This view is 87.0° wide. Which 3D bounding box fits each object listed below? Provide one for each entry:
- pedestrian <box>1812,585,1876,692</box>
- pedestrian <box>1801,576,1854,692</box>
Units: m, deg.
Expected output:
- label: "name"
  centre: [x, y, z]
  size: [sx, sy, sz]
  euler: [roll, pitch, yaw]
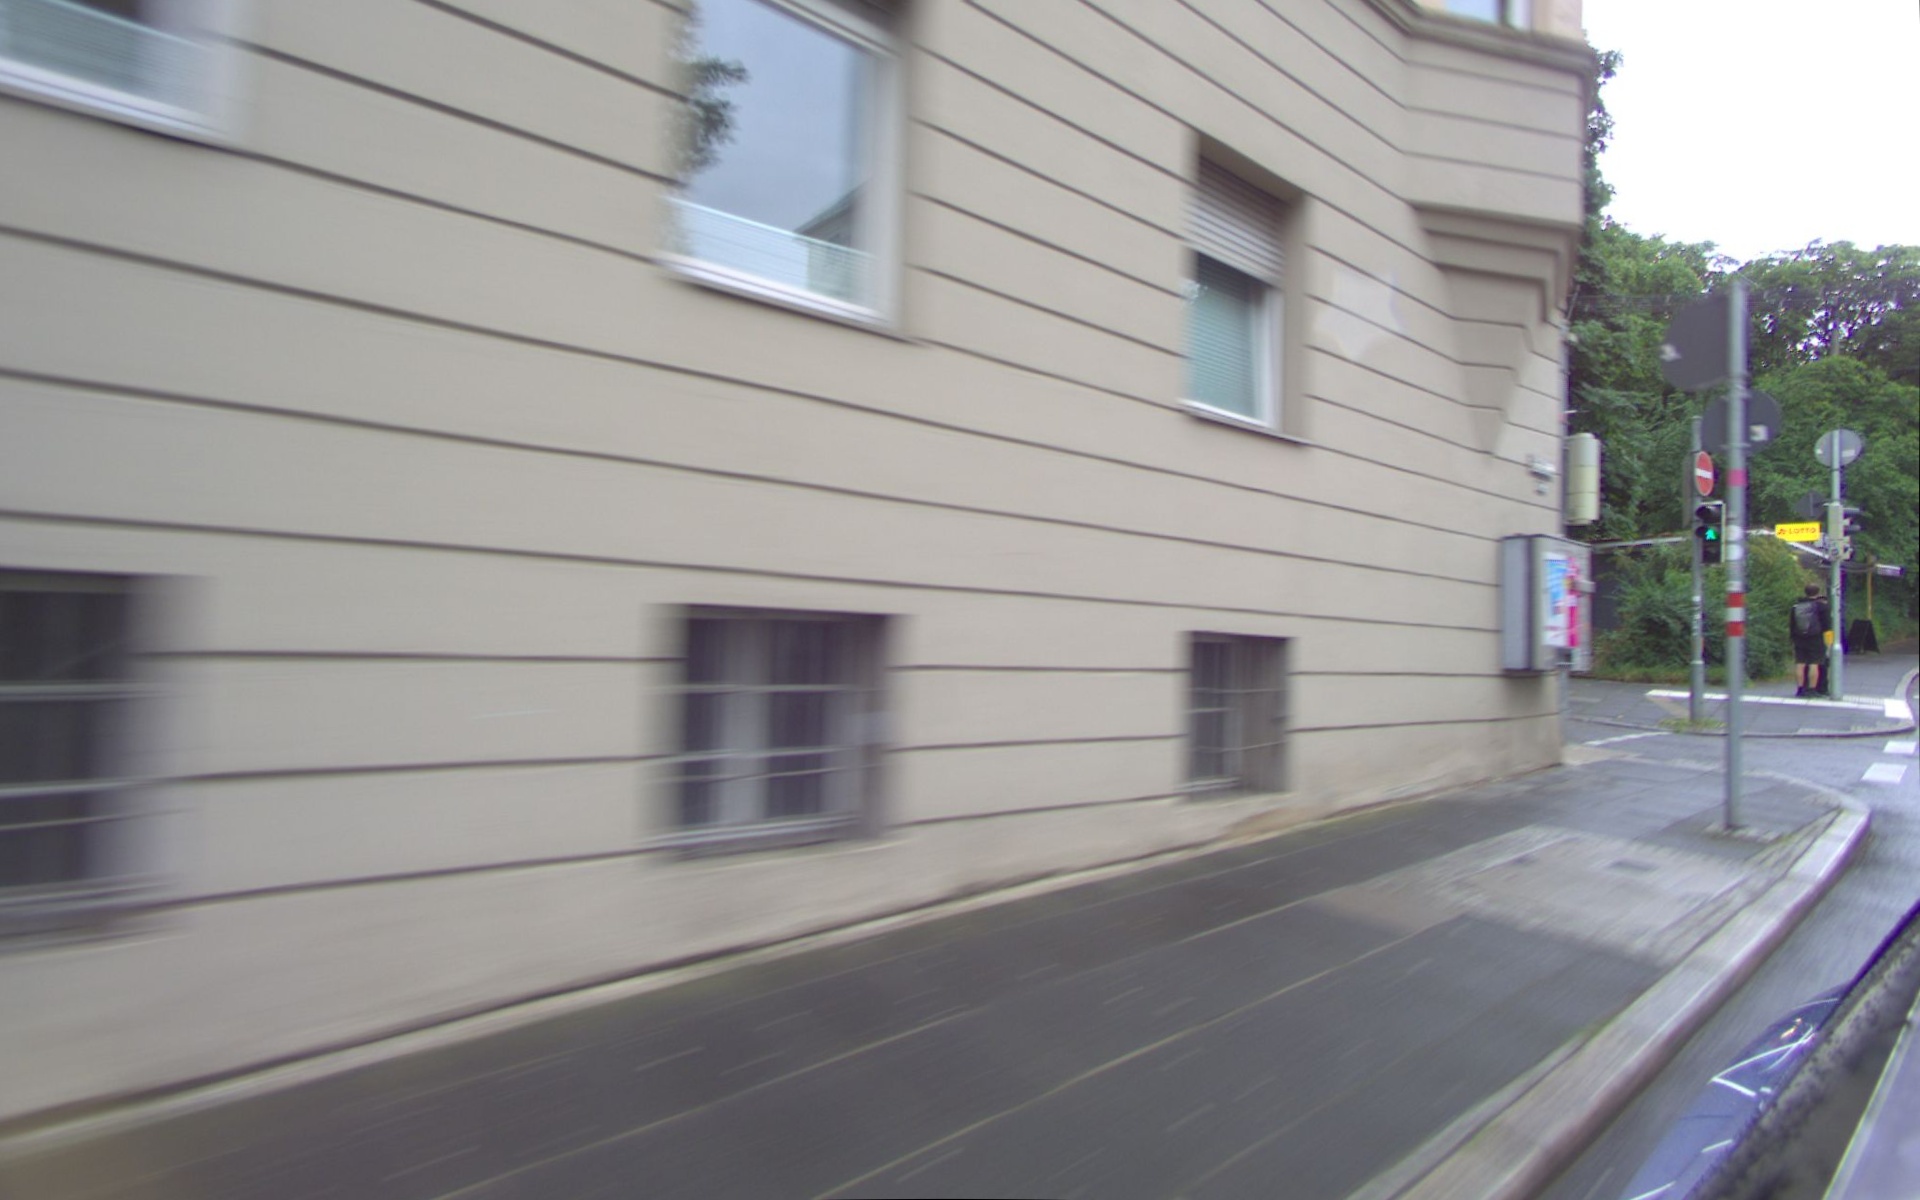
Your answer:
- label: "pedestrian"
  centre: [14.586, 0.624, 16.701]
  size: [0.546, 1.716, 0.696]
  euler: [0, 0, -40]
- label: "pedestrian"
  centre: [14.058, 0.539, 16.395]
  size: [0.639, 1.836, 0.554]
  euler: [0, -1, -42]
